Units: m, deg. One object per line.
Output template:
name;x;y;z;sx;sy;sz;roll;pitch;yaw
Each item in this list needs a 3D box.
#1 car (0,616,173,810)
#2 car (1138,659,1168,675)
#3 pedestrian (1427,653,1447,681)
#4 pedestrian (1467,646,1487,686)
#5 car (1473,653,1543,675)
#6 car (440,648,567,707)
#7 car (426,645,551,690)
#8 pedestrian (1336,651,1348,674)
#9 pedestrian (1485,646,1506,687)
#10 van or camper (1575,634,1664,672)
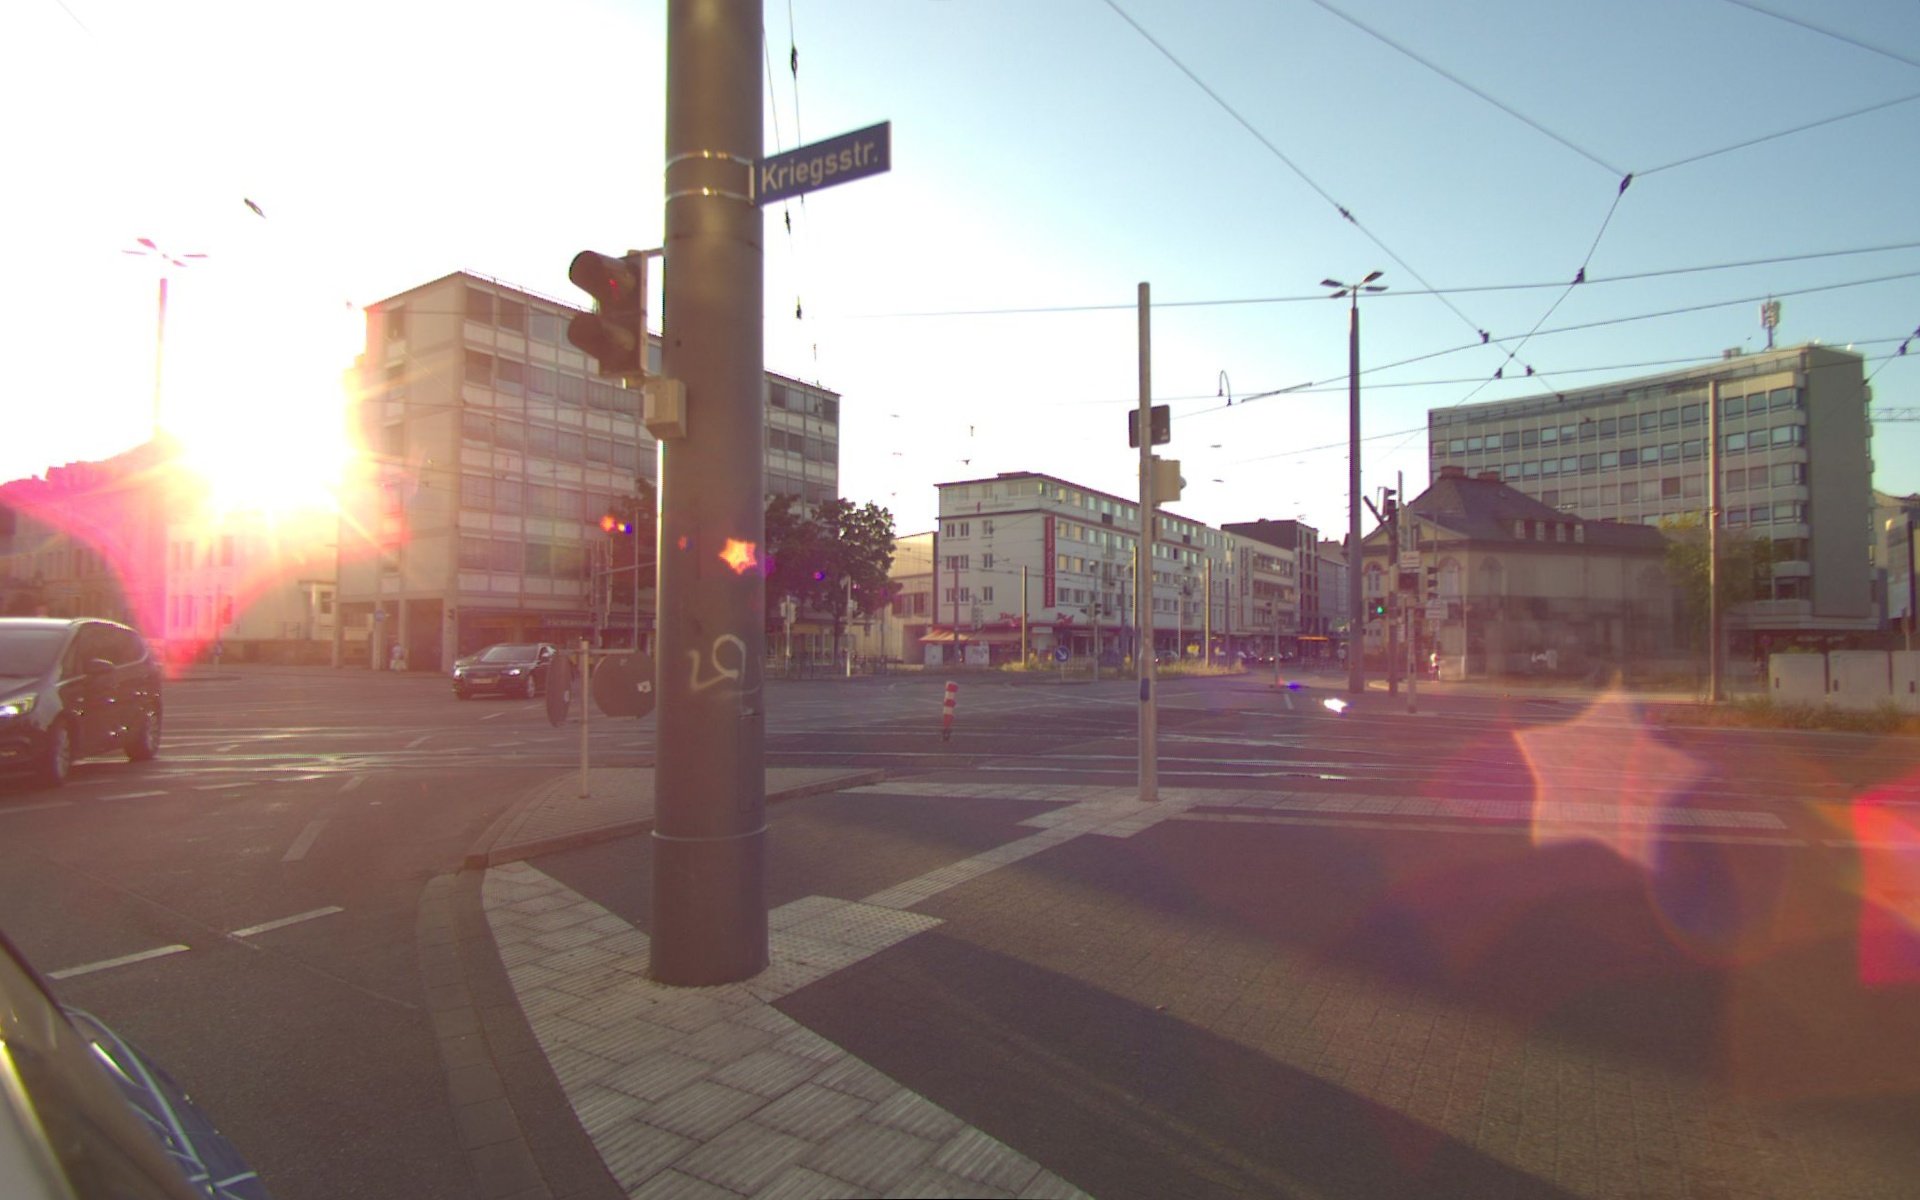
car;-9.748;1.040;10.253;1.770;1.631;4.401;1;-3;-24
car;16.693;5.783;87.281;1.560;1.286;3.389;-2;-3;29
pedestrian;23.296;3.266;49.387;0.580;1.351;0.657;0;-1;-17
pedestrian;19.735;2.519;38.657;0.588;1.522;0.648;-2;-4;33
car;32.475;3.779;59.983;3.526;1.286;1.858;1;-3;-23
car;-11.867;1.975;26.633;1.823;1.419;4.230;0;-3;-6
car;-17.702;2.509;38.175;1.742;1.578;3.983;-2;-3;29
pedestrian;25.523;4.174;67.688;0.589;1.522;0.647;-2;-4;35
pedestrian;20.111;2.494;38.009;0.588;1.522;0.648;-2;-4;33
van or camper;41.786;3.357;64.155;5.028;2.319;2.006;1;-3;-19
